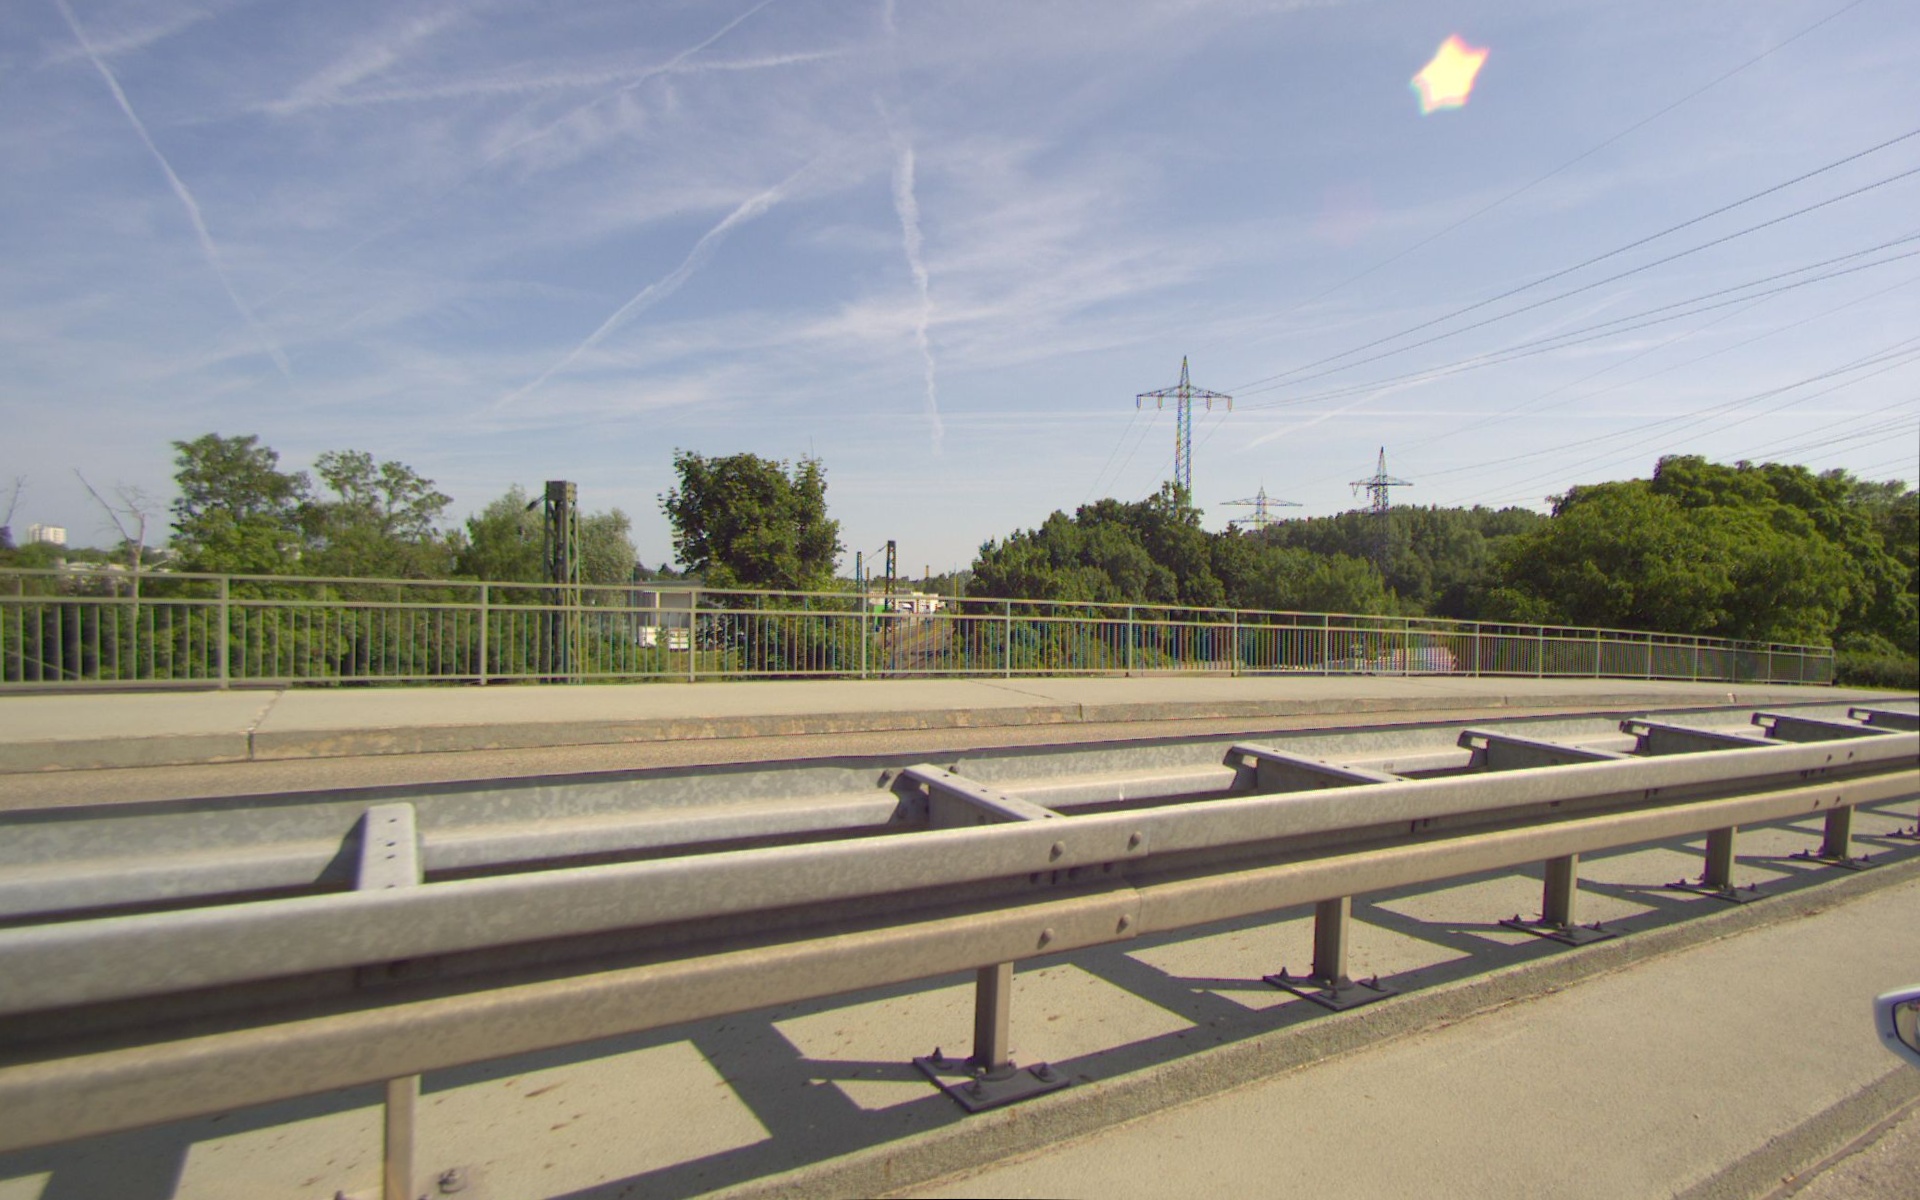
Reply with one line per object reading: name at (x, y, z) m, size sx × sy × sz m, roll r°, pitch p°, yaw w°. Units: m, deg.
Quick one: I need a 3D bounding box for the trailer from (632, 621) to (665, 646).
trailer at (-38.063, 4.059, 122.597) m, size 2.585 × 2.848 × 6.725 m, roll 1°, pitch 0°, yaw -29°

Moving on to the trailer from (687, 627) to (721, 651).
trailer at (-32.641, 4.897, 127.824) m, size 2.585 × 2.848 × 6.725 m, roll 1°, pitch 0°, yaw -29°

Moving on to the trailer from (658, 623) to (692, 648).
trailer at (-35.508, 4.372, 124.980) m, size 2.585 × 2.848 × 6.725 m, roll 1°, pitch 0°, yaw -29°
